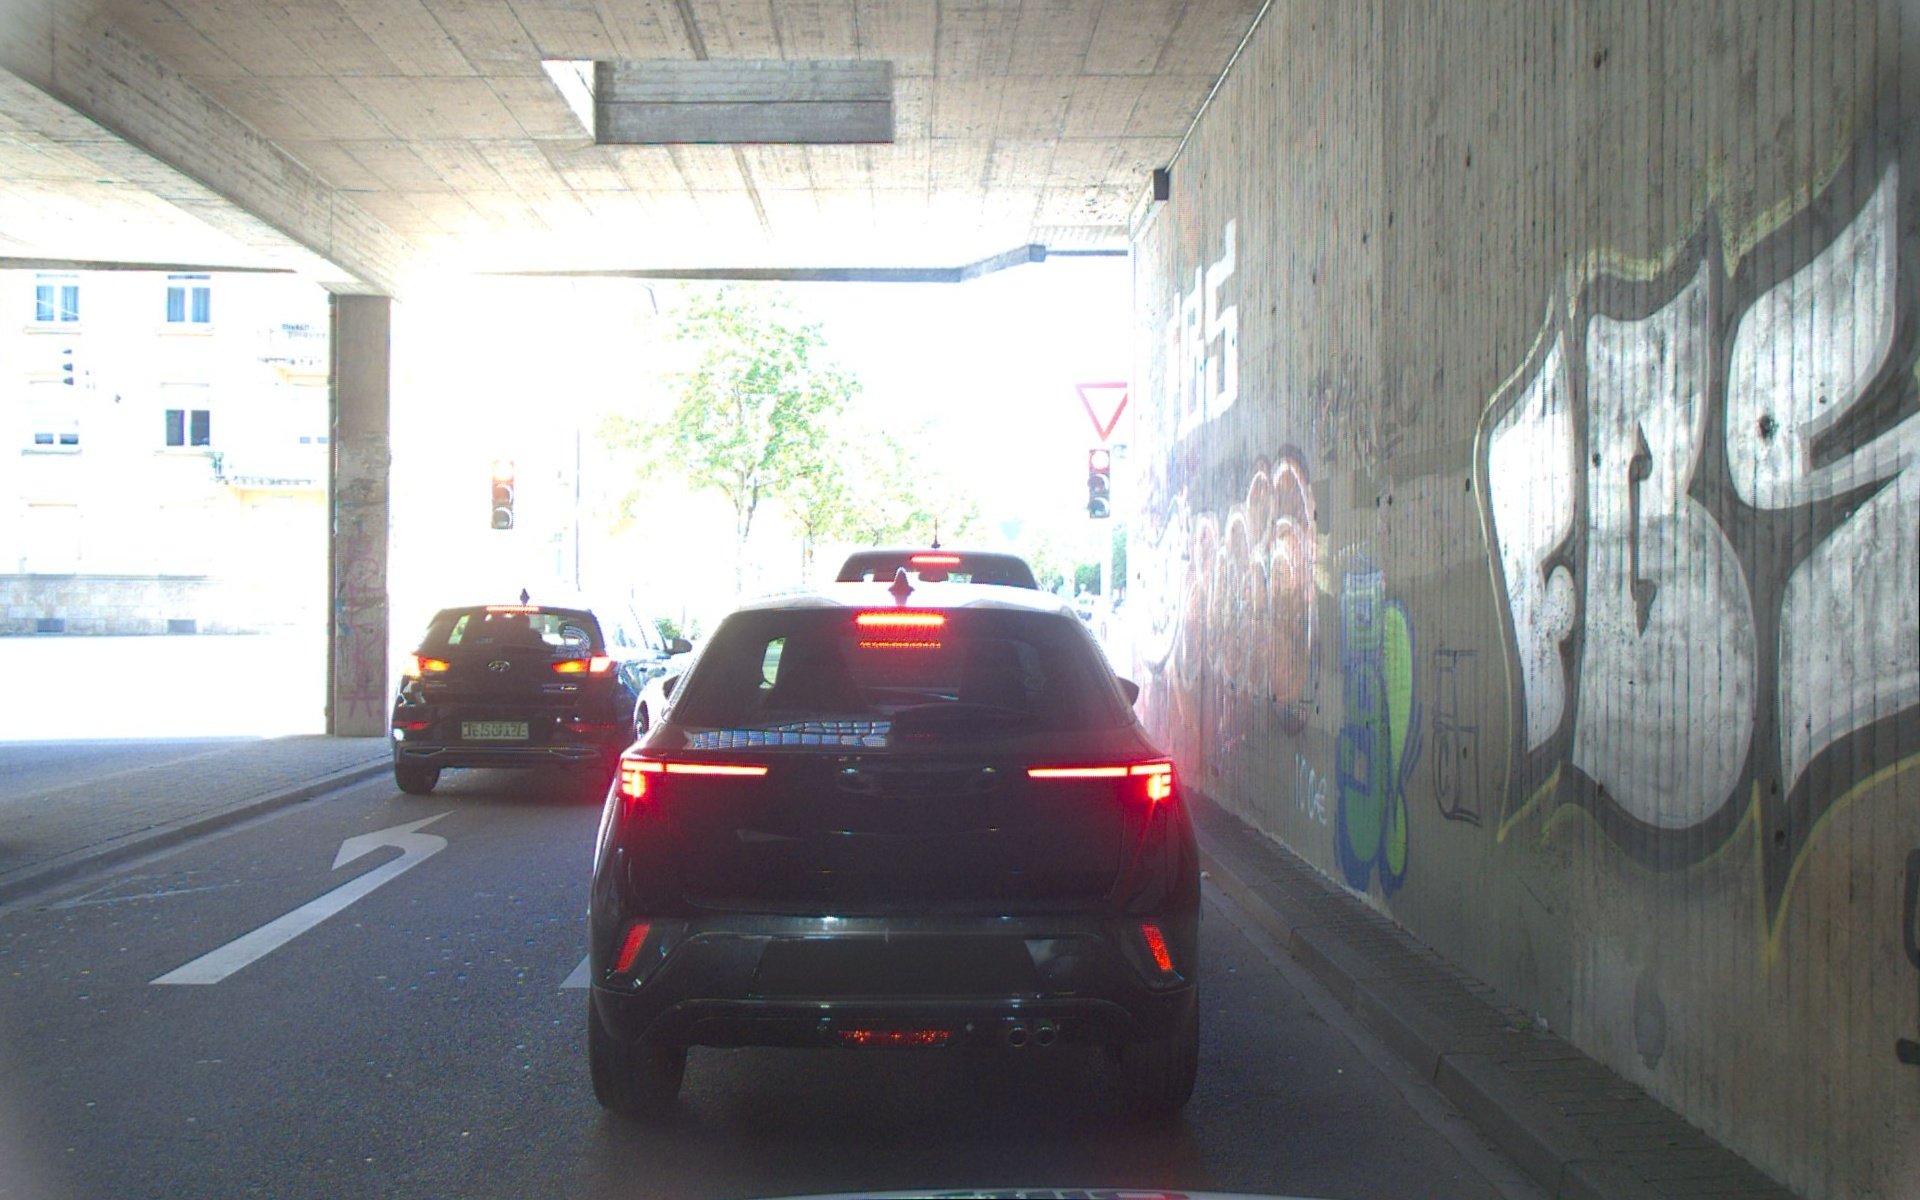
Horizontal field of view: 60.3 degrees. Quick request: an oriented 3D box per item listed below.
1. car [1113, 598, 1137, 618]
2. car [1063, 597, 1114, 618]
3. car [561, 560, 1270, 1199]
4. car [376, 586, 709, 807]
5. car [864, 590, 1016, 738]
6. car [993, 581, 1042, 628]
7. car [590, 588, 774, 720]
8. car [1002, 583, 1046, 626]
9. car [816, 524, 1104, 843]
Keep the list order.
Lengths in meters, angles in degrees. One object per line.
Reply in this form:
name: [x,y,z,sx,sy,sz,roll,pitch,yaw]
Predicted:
car: [14.141,0.709,141.912,1.716,1.696,3.948,1,0,10]
car: [10.572,0.635,135.844,1.788,1.696,4.793,1,0,38]
car: [-0.134,0.680,6.086,1.726,1.558,4.088,0,0,-1]
car: [-3.143,0.655,13.229,1.726,1.506,3.843,0,0,-1]
car: [-0.232,0.664,19.245,1.576,1.539,4.053,0,0,-1]
car: [2.187,0.175,62.225,1.717,1.696,3.946,1,0,3]
car: [-3.414,0.616,20.950,1.726,1.506,3.843,0,0,-1]
car: [2.677,0.209,68.351,1.717,1.696,3.946,1,0,3]
car: [-0.027,0.498,12.031,1.726,1.915,4.145,0,0,-1]
